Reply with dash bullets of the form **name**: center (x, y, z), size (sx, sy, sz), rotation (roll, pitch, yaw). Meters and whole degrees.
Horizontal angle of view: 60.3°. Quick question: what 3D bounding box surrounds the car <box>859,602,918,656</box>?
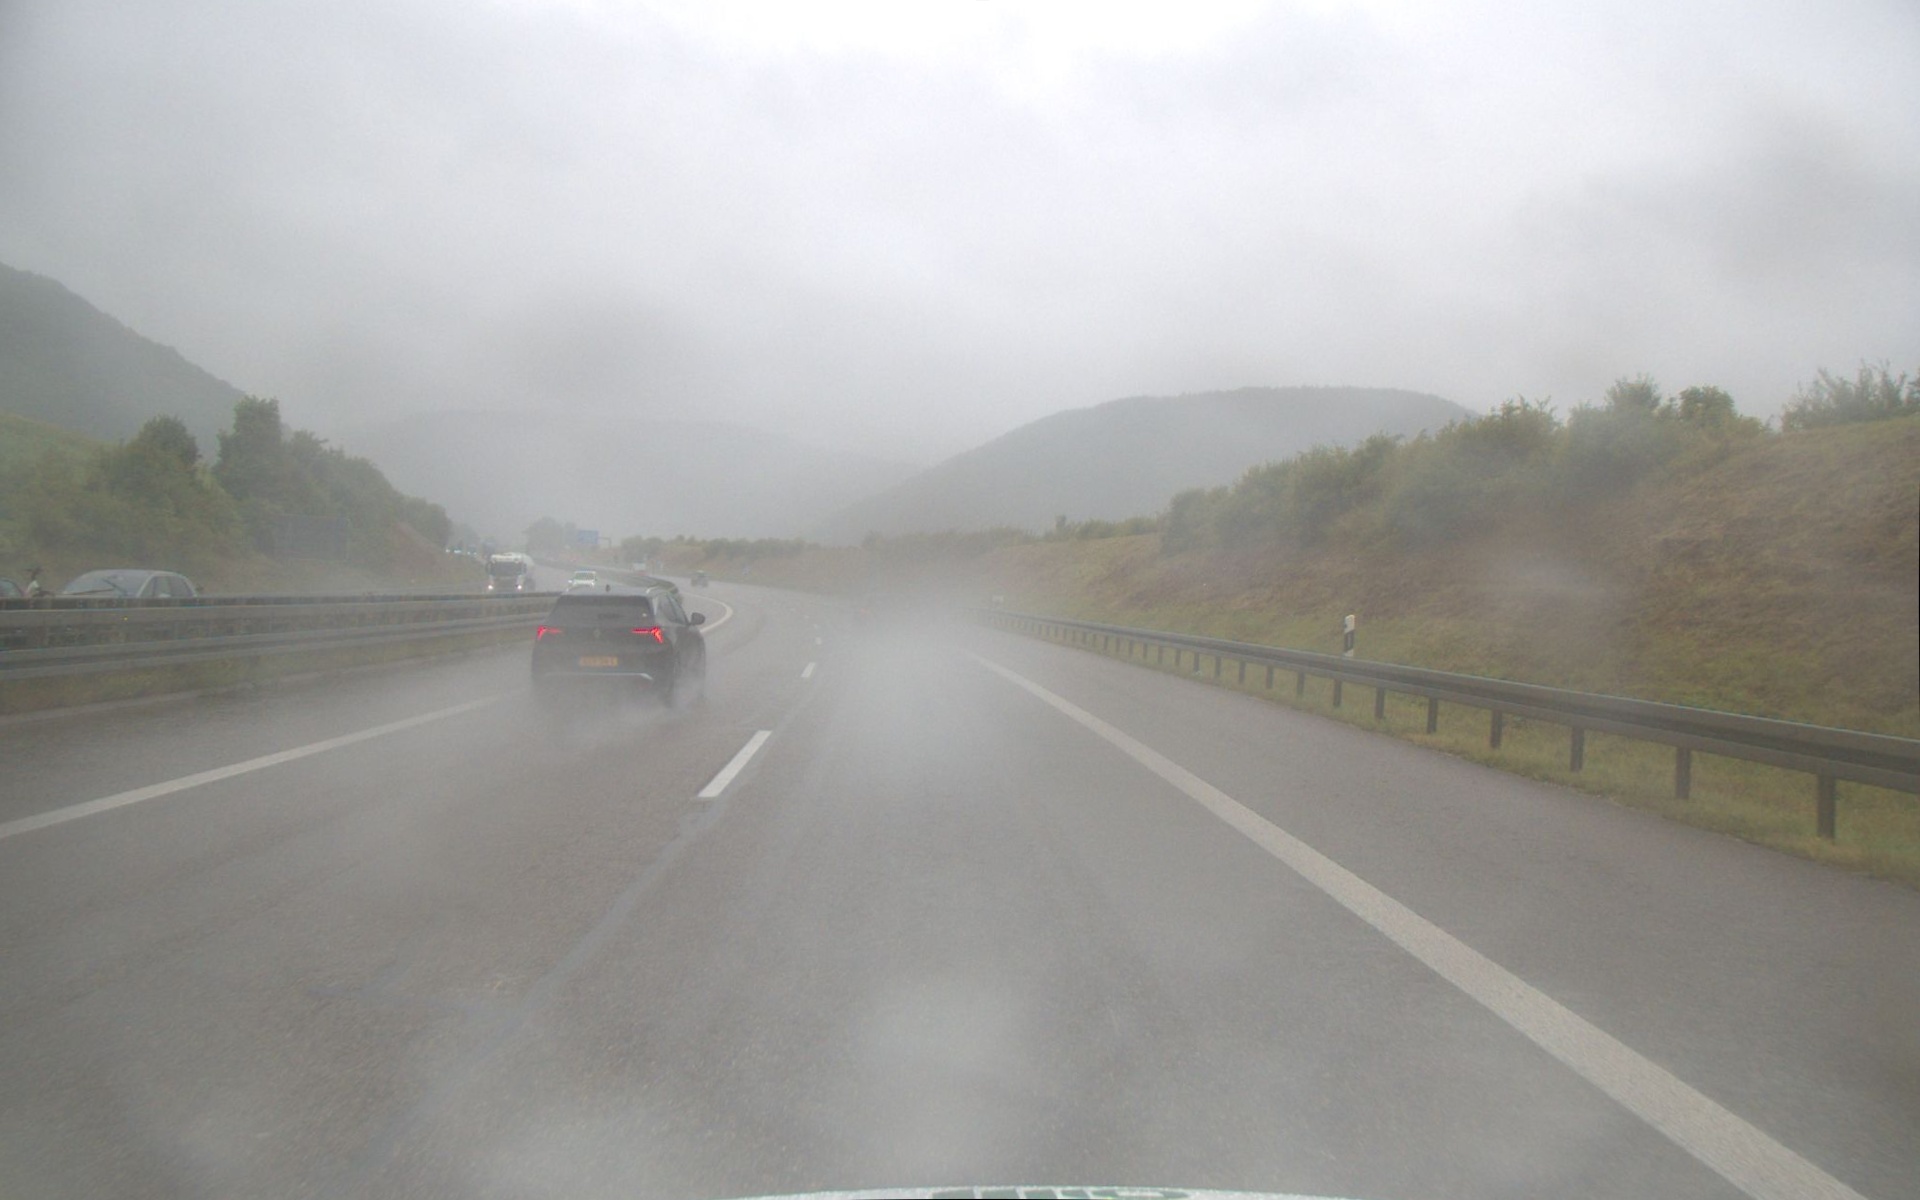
- **car**: center (-2.177, 0.857, 50.081), size (1.646, 1.498, 3.812), rotation (2, 0, -3)

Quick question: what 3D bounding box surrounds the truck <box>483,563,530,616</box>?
- **truck**: center (-33.855, -0.809, 123.530), size (2.831, 3.868, 5.303), rotation (1, 0, -10)

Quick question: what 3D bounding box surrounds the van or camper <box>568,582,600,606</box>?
- **van or camper**: center (-31.374, -0.507, 138.079), size (1.955, 1.910, 5.338), rotation (0, 1, -7)

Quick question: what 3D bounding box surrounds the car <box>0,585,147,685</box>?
- **car**: center (-19.831, 0.713, 36.551), size (1.875, 2.049, 3.997), rotation (1, 0, -3)

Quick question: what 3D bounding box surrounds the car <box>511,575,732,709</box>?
- **car**: center (-4.432, 0.517, 22.474), size (2.359, 1.542, 4.779), rotation (2, 0, -5)
